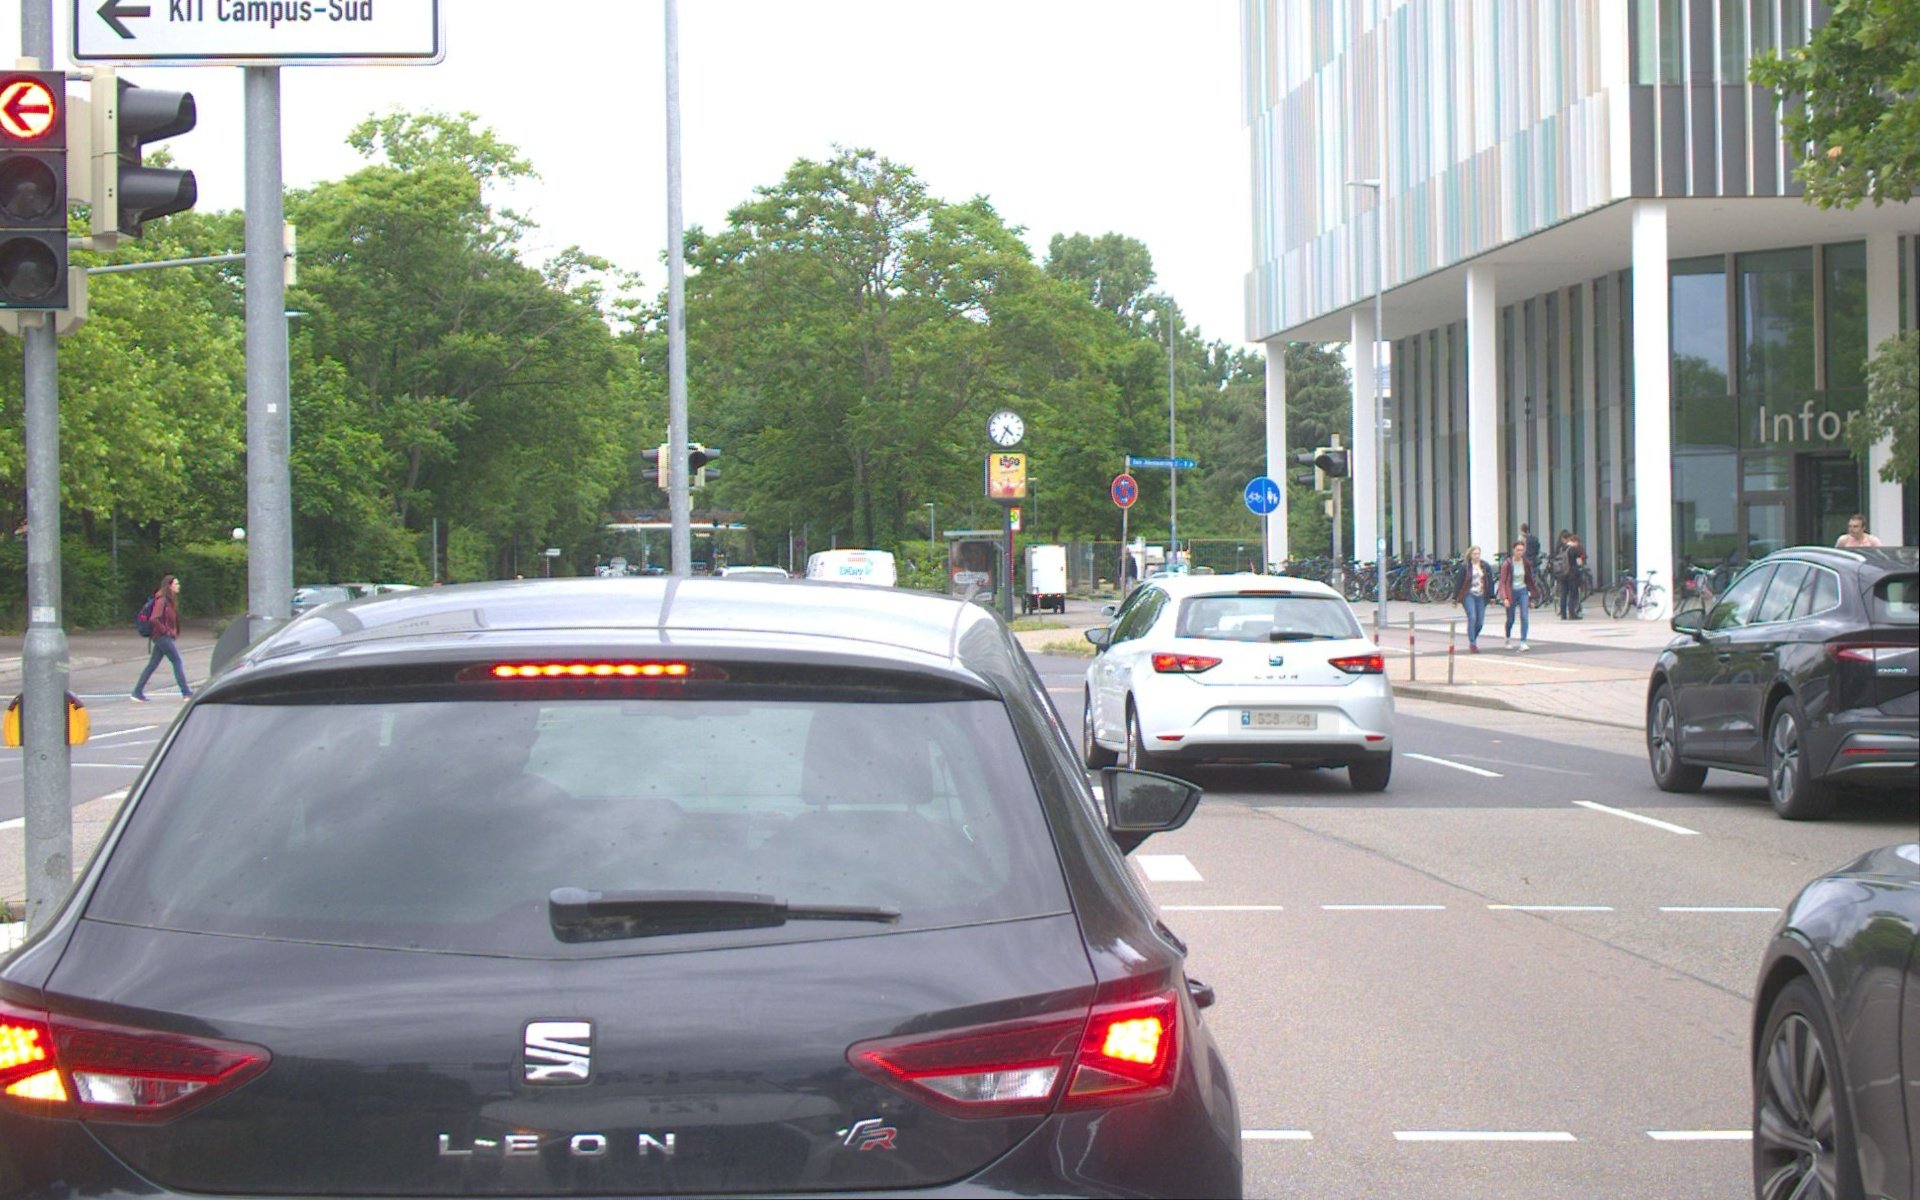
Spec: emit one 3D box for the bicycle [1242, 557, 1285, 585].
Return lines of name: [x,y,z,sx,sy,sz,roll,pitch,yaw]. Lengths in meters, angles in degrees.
bicycle: [9.628,-0.907,108.955,1.258,0.845,0.482,2,0,-22]

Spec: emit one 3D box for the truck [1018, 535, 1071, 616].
truck: [2.421,-0.717,99.385,1.317,2.235,3.402,-2,1,-1]

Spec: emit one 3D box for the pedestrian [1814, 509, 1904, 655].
pedestrian: [11.133,-0.226,42.594,0.847,1.759,0.768,-2,1,-1]

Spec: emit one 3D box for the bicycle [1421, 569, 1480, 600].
bicycle: [12.007,-0.385,84.188,1.374,0.703,0.416,-2,1,2]

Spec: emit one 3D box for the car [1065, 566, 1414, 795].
car: [1.866,0.500,24.125,1.781,1.458,3.872,0,1,-6]

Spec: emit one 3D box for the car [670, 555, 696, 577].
car: [-20.422,-2.537,253.795,1.695,1.498,4.011,-2,1,-7]

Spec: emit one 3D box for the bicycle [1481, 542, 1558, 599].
bicycle: [12.643,-0.668,77.723,1.772,1.207,0.570,-3,1,-34]

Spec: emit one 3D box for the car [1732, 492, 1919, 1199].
car: [2.570,0.635,4.701,1.883,1.594,4.447,0,1,-2]

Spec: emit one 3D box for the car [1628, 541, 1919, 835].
car: [5.604,0.463,21.277,1.907,1.619,4.491,1,1,-2]

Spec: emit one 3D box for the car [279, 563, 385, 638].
car: [-15.739,-0.008,86.332,1.906,1.711,4.000,-2,1,-1]

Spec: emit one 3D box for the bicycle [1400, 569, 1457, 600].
bicycle: [11.721,-0.391,85.986,1.375,0.703,0.489,-2,1,8]

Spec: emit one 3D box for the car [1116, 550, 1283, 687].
car: [2.871,0.227,41.972,1.825,1.545,4.527,1,0,2]

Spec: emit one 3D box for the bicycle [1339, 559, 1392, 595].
bicycle: [10.832,-0.618,91.843,1.387,0.938,0.487,-1,1,7]

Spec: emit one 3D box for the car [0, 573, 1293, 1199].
car: [-0.450,0.696,5.776,1.753,1.427,3.769,1,1,2]

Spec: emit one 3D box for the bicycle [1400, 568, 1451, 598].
bicycle: [11.759,-0.421,86.877,1.240,0.703,0.489,-2,1,8]

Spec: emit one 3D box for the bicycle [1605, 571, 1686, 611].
bicycle: [13.881,-0.183,69.600,1.479,0.746,0.566,-2,1,-4]

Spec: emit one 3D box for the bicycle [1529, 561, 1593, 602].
bicycle: [13.331,-0.409,76.185,1.438,0.855,0.365,-3,1,-27]

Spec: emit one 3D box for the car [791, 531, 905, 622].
car: [-2.561,-0.555,77.783,1.966,1.965,4.345,1,1,-10]

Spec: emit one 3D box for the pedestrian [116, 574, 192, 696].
pedestrian: [-10.779,0.466,45.973,0.874,1.581,0.543,-2,1,-7]

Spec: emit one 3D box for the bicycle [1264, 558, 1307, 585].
bicycle: [10.126,-0.886,106.854,1.234,0.820,0.482,1,0,-22]

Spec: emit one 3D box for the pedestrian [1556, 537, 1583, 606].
pedestrian: [12.176,-0.564,68.710,0.472,1.357,0.445,-2,1,10]

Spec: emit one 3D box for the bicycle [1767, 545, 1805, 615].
bicycle: [15.466,-0.377,64.385,0.526,1.248,1.664,-2,1,18]

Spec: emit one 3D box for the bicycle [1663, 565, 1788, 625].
bicycle: [12.512,-0.090,56.190,1.886,0.895,0.697,-3,1,-21]

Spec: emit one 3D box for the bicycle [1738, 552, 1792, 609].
bicycle: [15.732,-0.387,67.178,0.620,1.042,1.703,-2,1,26]

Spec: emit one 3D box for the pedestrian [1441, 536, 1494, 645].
pedestrian: [7.695,-0.146,52.112,0.687,1.634,0.633,0,1,-1]

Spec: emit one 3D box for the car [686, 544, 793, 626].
car: [-4.443,-0.324,68.783,1.729,1.597,4.107,0,1,-9]

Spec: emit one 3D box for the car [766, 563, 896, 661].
car: [-2.049,0.155,53.705,1.722,1.409,4.246,0,1,-6]

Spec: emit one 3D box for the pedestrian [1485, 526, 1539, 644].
pedestrian: [8.391,-0.239,52.289,0.687,1.775,0.677,-1,1,-1]

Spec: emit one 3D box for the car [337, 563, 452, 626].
car: [-15.752,-0.169,95.938,1.759,1.582,3.998,-2,1,12]
